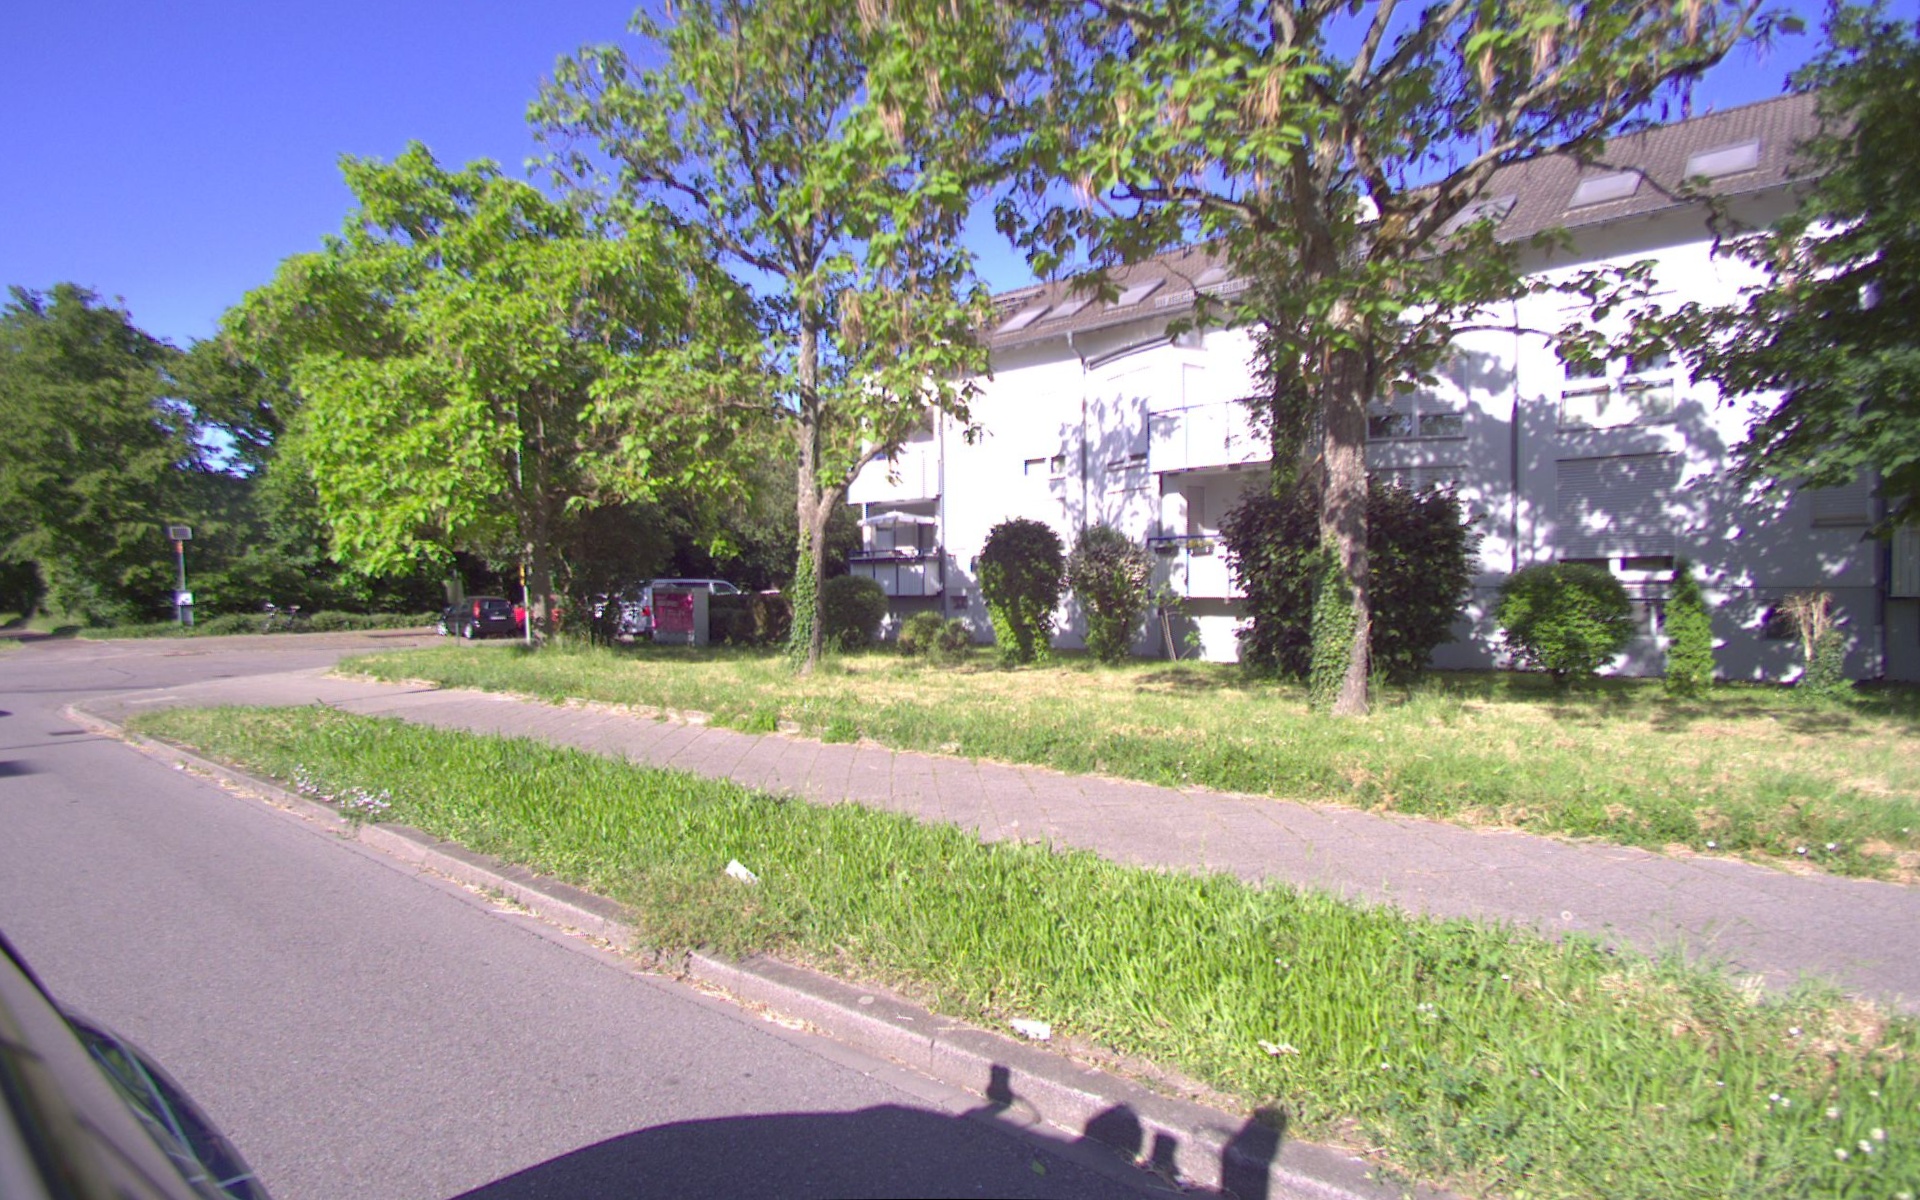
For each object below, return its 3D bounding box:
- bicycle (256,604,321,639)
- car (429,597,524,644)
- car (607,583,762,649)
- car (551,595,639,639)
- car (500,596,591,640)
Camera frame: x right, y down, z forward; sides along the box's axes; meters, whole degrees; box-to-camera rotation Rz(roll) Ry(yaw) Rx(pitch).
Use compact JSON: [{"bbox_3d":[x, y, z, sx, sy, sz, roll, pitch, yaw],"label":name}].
[{"bbox_3d":[-24.031,0.757,36.240,1.875,1.160,0.762,-1,4,-39],"label":"bicycle"},{"bbox_3d":[-17.467,0.698,36.491,3.883,1.498,1.653,1,2,41],"label":"car"},{"bbox_3d":[-8.825,0.480,32.682,2.069,1.984,4.402,-2,-1,44],"label":"car"},{"bbox_3d":[-14.703,0.650,40.730,3.883,1.615,1.653,1,2,41],"label":"car"},{"bbox_3d":[-15.849,0.653,38.620,3.883,1.498,1.653,1,2,41],"label":"car"}]
